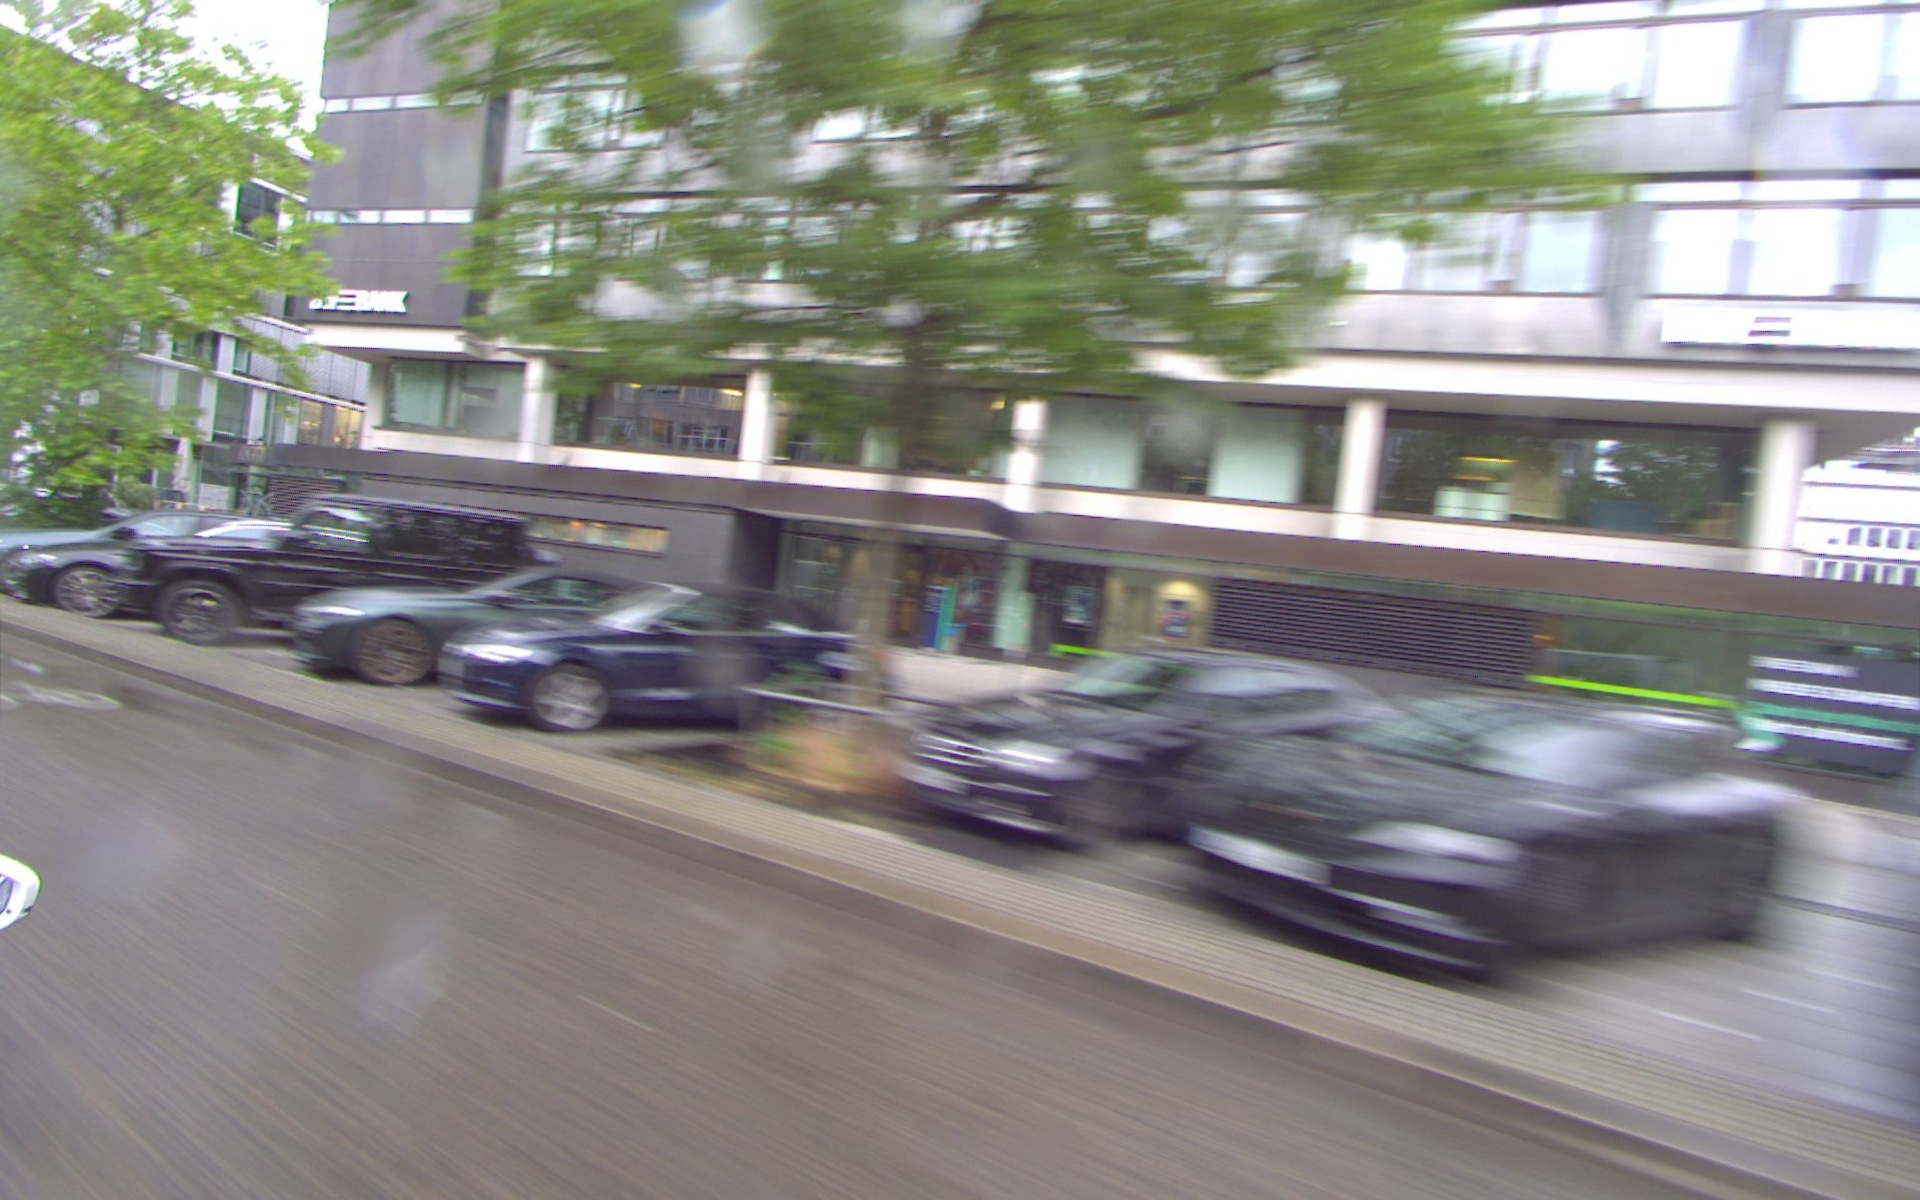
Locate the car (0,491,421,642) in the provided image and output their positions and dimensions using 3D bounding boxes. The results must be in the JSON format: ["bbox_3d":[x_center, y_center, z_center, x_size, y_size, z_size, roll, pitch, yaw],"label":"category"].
[{"bbox_3d":[-10.355,-0.411,14.284,4.524,1.526,1.852,6,0,-34],"label":"car"}]

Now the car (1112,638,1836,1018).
[{"bbox_3d":[3.291,1.233,6.206,4.357,1.453,1.925,8,-1,-32],"label":"car"}]

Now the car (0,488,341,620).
[{"bbox_3d":[-12.783,-0.706,15.914,4.759,1.553,1.846,6,0,-44],"label":"car"}]

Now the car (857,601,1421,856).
[{"bbox_3d":[1.505,1.006,7.856,4.170,1.453,1.706,8,-1,-32],"label":"car"}]

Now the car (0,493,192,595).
[{"bbox_3d":[-16.852,-1.109,18.275,4.258,1.507,1.829,6,0,-29],"label":"car"}]

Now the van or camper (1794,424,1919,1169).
[{"bbox_3d":[6.325,1.033,4.405,6.022,2.589,2.088,7,-1,-31],"label":"van or camper"}]

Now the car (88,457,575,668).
[{"bbox_3d":[-7.843,-0.370,13.072,4.902,2.003,1.913,6,1,-32],"label":"car"}]

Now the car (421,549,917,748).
[{"bbox_3d":[-2.794,0.523,10.006,4.334,1.453,1.747,8,-1,-32],"label":"car"}]

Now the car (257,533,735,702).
[{"bbox_3d":[-5.162,0.251,11.624,4.585,1.412,1.833,6,0,-30],"label":"car"}]

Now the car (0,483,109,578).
[{"bbox_3d":[-19.651,-1.540,19.710,4.185,1.690,1.824,6,1,-31],"label":"car"}]
